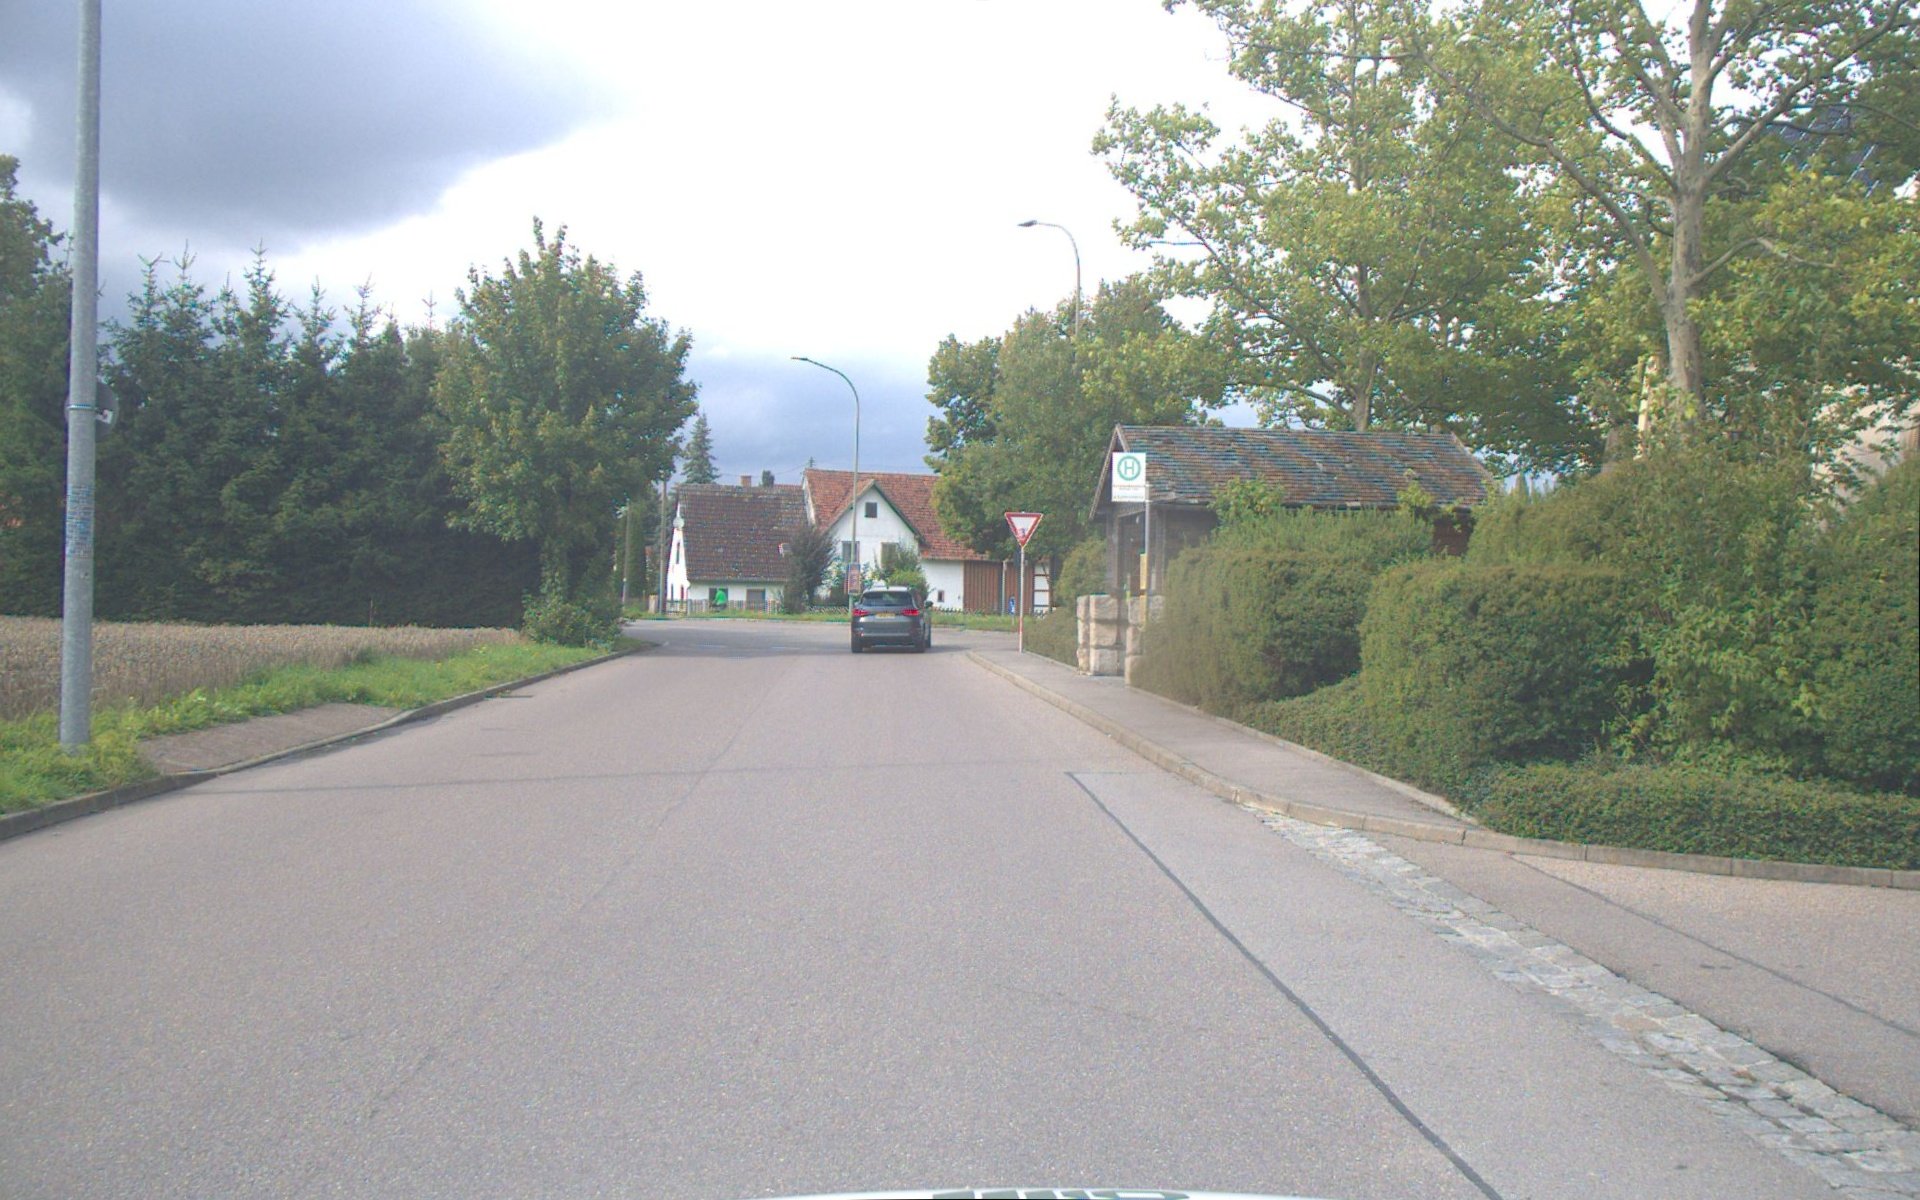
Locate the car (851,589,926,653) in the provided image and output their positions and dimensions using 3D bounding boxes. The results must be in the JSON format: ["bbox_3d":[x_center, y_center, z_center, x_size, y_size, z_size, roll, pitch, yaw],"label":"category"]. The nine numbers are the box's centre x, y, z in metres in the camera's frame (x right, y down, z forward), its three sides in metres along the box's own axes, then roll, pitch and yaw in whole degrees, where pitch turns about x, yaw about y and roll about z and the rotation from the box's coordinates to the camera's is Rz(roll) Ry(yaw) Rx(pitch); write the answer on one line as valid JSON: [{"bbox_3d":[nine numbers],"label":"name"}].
[{"bbox_3d":[-1.730,0.492,40.718,1.762,1.488,3.661,0,0,-2],"label":"car"}]

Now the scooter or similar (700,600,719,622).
[{"bbox_3d":[-11.538,0.506,76.202,0.625,0.964,0.614,6,-3,-36],"label":"scooter or similar"}]

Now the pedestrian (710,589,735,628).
[{"bbox_3d":[-10.880,0.375,75.748,0.782,1.694,0.703,6,-3,-36],"label":"pedestrian"}]
